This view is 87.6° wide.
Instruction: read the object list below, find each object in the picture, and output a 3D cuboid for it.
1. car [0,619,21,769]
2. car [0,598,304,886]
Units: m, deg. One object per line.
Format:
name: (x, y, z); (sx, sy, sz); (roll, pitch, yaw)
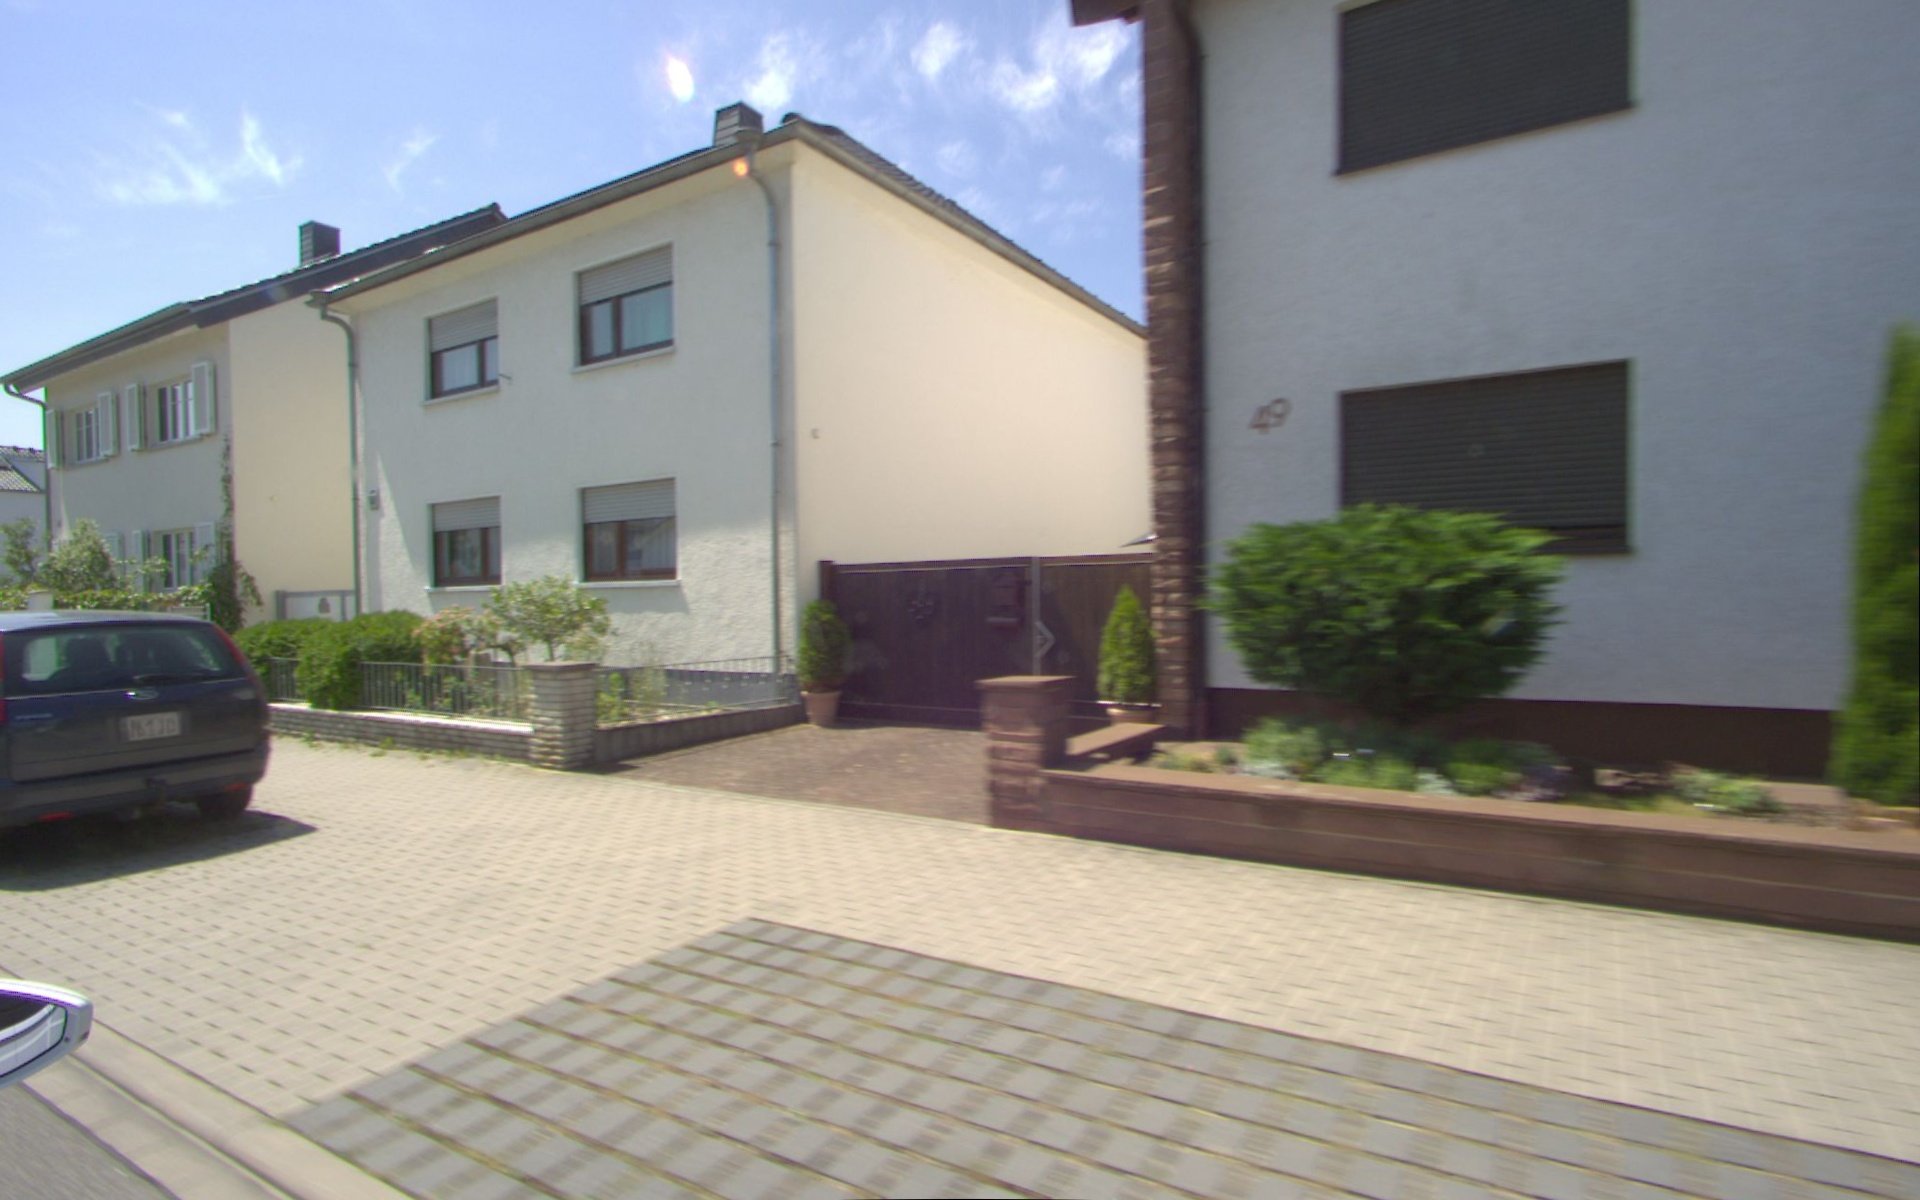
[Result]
car: (-11.354, 0.925, 10.101); (4.035, 1.439, 1.810); (0, 1, 33)
car: (-6.780, 0.794, 7.136); (4.382, 1.554, 1.739); (-1, 0, 30)
